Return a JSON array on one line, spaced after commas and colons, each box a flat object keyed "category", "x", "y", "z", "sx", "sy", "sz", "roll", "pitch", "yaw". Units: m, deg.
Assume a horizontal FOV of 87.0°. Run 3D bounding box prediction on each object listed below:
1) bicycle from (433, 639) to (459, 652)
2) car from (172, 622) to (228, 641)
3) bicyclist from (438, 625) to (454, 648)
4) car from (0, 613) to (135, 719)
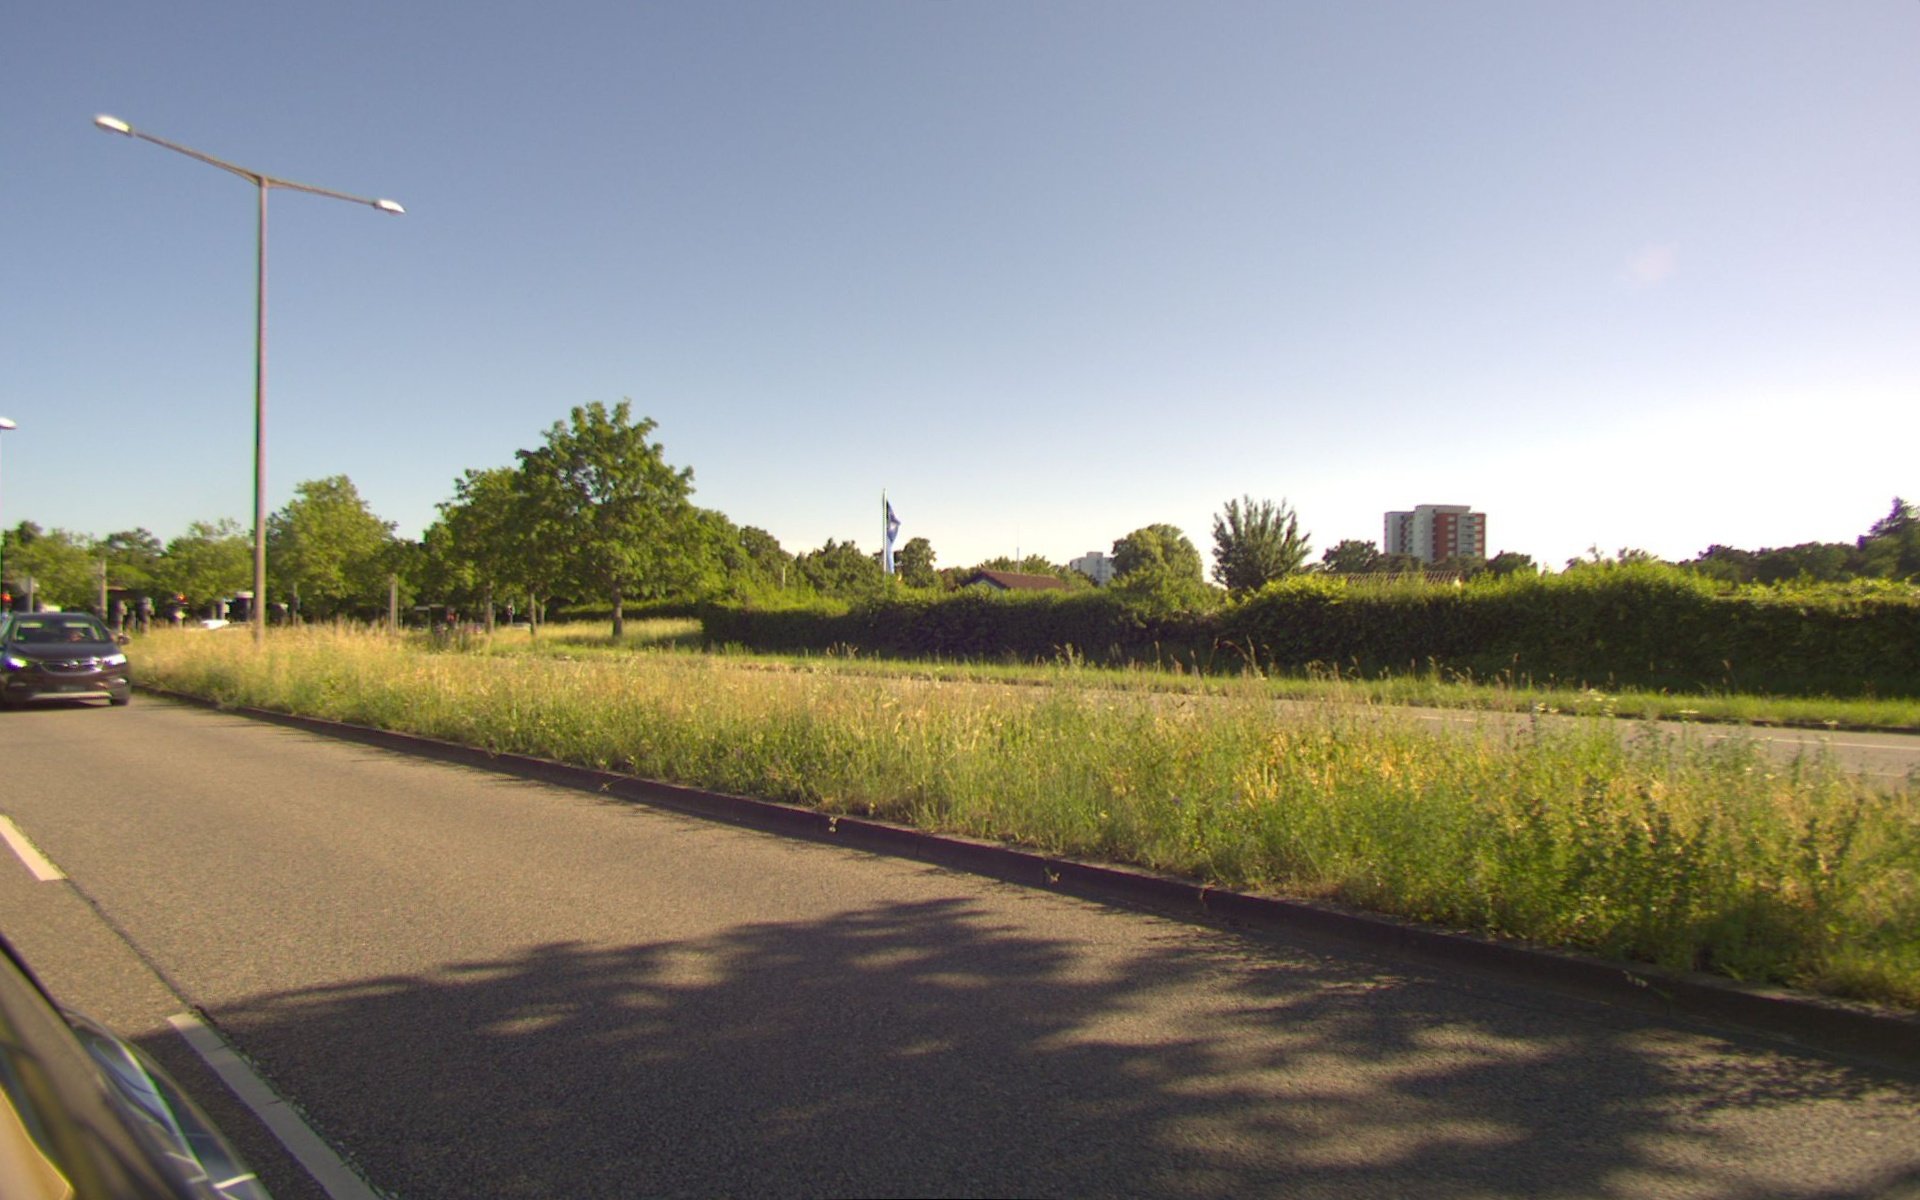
[{"category": "bicycle", "x": -28.763, "y": 2.514, "z": 56.594, "sx": 1.873, "sy": 0.700, "sz": 0.559, "roll": -1, "pitch": -2, "yaw": 39}, {"category": "car", "x": -73.369, "y": 2.998, "z": 97.752, "sx": 1.772, "sy": 1.768, "sz": 3.956, "roll": -1, "pitch": -1, "yaw": 32}, {"category": "bicyclist", "x": -28.755, "y": 2.020, "z": 56.605, "sx": 0.575, "sy": 1.266, "sz": 0.577, "roll": -1, "pitch": -2, "yaw": 37}, {"category": "car", "x": -16.127, "y": 1.091, "z": 17.910, "sx": 3.854, "sy": 1.675, "sz": 1.692, "roll": -1, "pitch": -2, "yaw": 41}]
